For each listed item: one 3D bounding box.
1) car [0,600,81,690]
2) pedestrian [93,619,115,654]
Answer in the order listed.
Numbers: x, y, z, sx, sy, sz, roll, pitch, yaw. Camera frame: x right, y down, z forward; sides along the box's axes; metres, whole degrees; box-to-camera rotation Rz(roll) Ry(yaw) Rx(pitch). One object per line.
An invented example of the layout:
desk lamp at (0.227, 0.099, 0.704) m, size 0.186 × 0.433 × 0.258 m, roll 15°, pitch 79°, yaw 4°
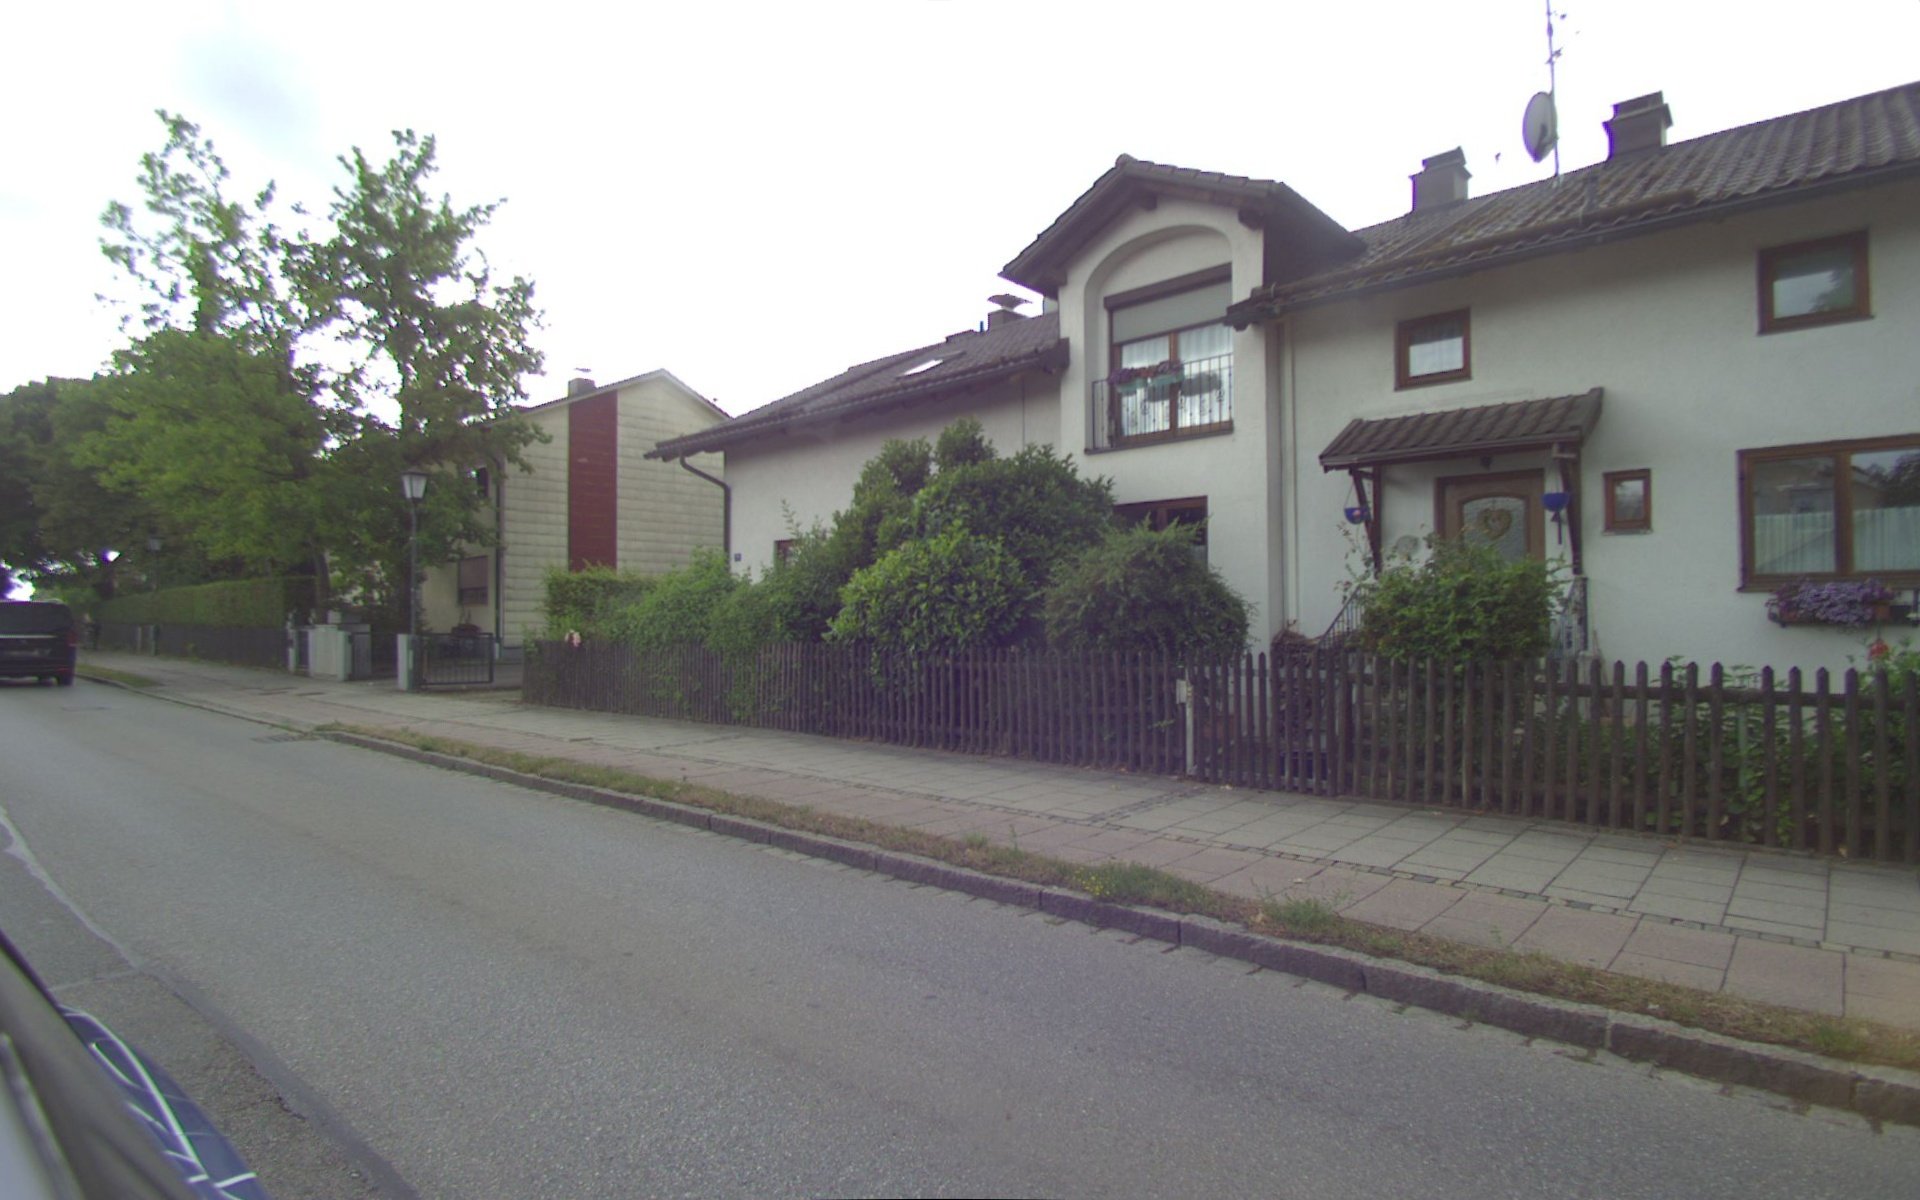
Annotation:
car at (-21.752, 0.983, 23.104) m, size 4.946 × 1.867 × 1.944 m, roll -1°, pitch -2°, yaw 42°
pedestrian at (-35.320, 1.501, 41.754) m, size 0.563 × 1.448 × 0.623 m, roll -1°, pitch -2°, yaw 41°
